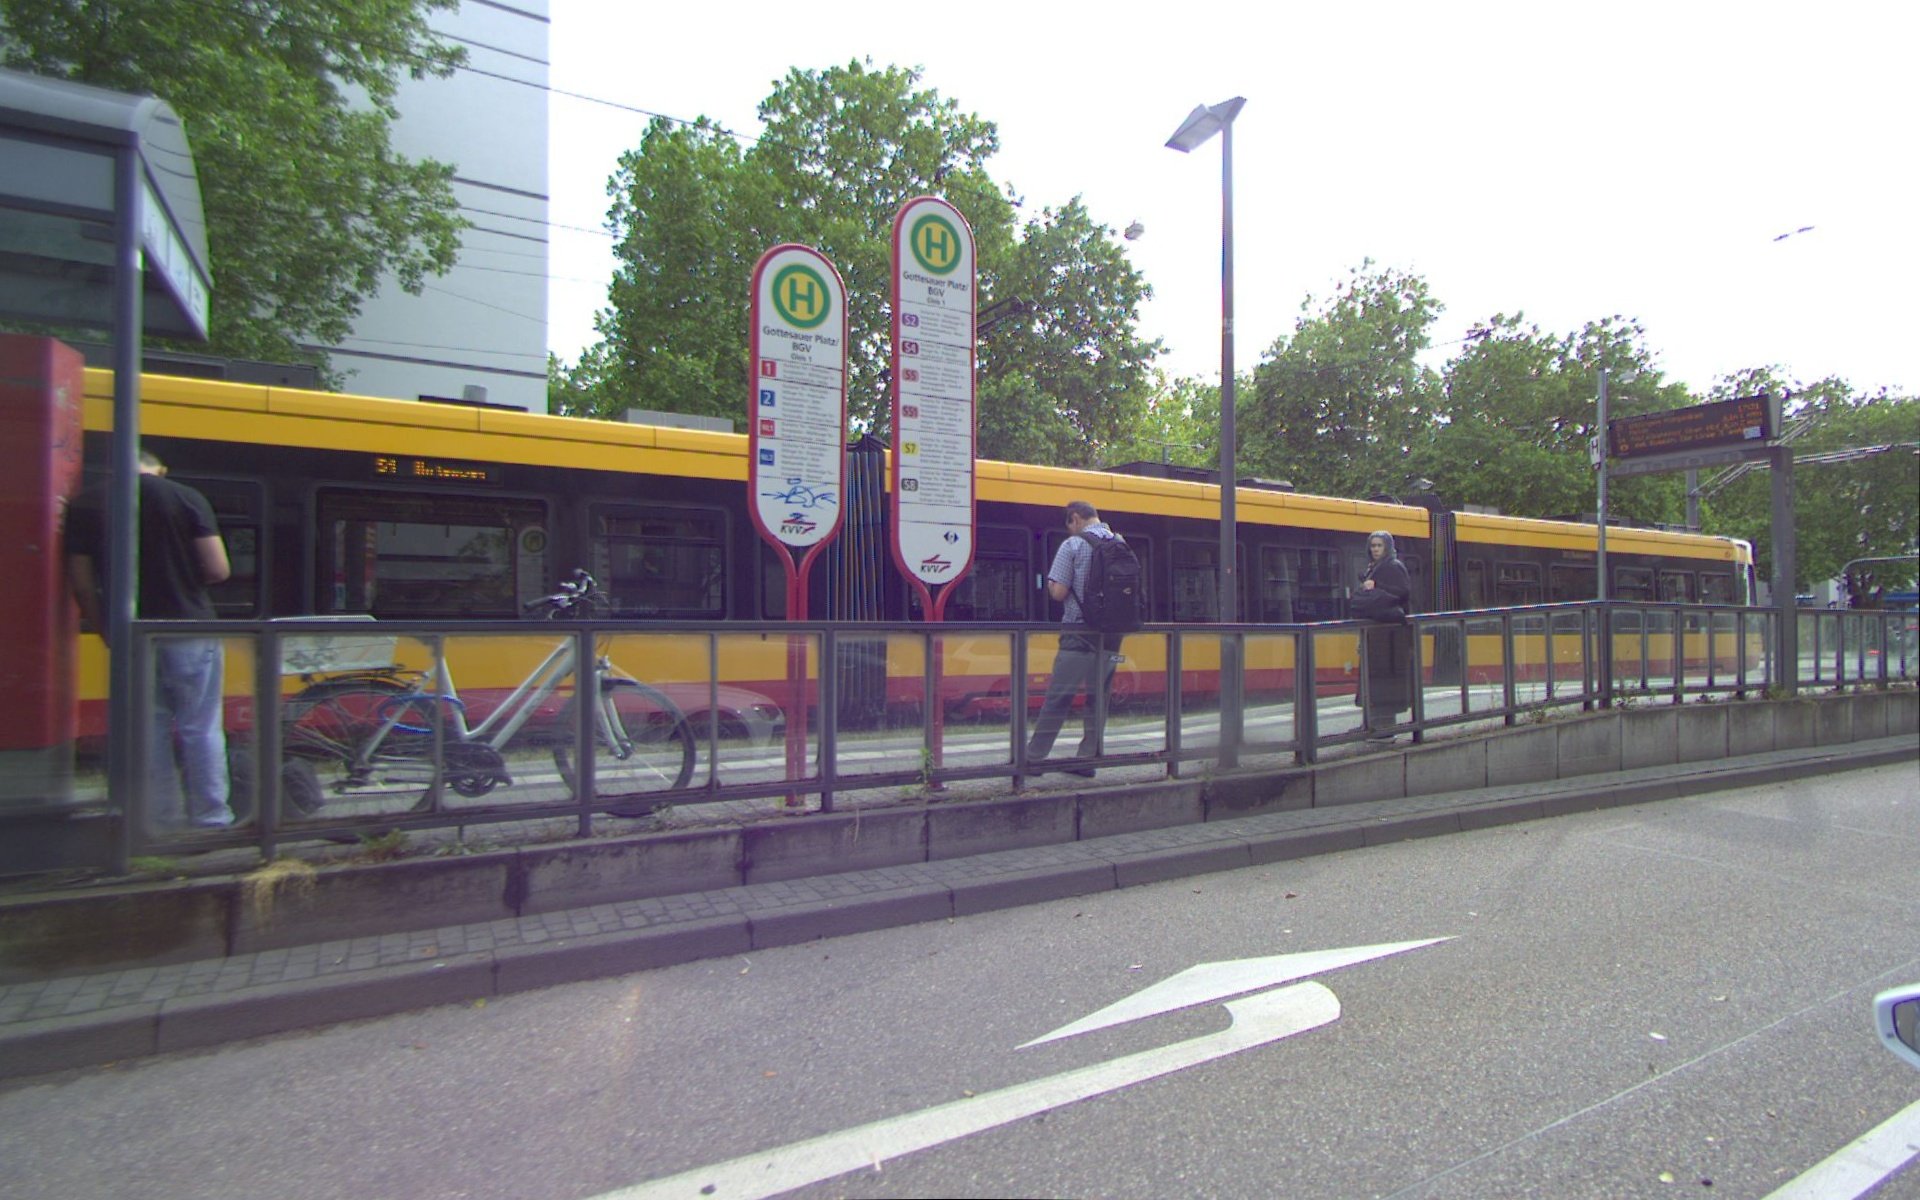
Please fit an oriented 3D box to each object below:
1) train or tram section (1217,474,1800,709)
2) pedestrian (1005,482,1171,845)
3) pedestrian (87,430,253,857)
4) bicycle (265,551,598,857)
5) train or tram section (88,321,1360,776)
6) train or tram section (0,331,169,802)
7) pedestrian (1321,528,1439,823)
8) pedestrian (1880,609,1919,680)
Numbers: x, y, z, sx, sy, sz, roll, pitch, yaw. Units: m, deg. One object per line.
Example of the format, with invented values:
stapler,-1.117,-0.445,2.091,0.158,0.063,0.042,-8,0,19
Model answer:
train or tram section,12.187,0.023,20.902,15.664,3.636,3.045,1,0,-31
pedestrian,0.747,0.365,6.068,0.803,2.040,0.754,1,0,-7
pedestrian,-3.309,0.173,4.245,0.466,1.654,0.528,1,0,-32
bicycle,-2.360,0.434,4.574,1.275,1.238,0.417,1,0,-31
train or tram section,-1.062,-0.257,13.067,15.116,3.579,3.045,1,0,-31
train or tram section,-14.095,-0.396,5.375,15.116,3.579,3.045,1,0,-31
pedestrian,3.120,0.524,7.479,0.741,2.040,0.818,1,0,23
pedestrian,24.900,1.157,26.395,0.999,1.837,0.582,1,0,38
